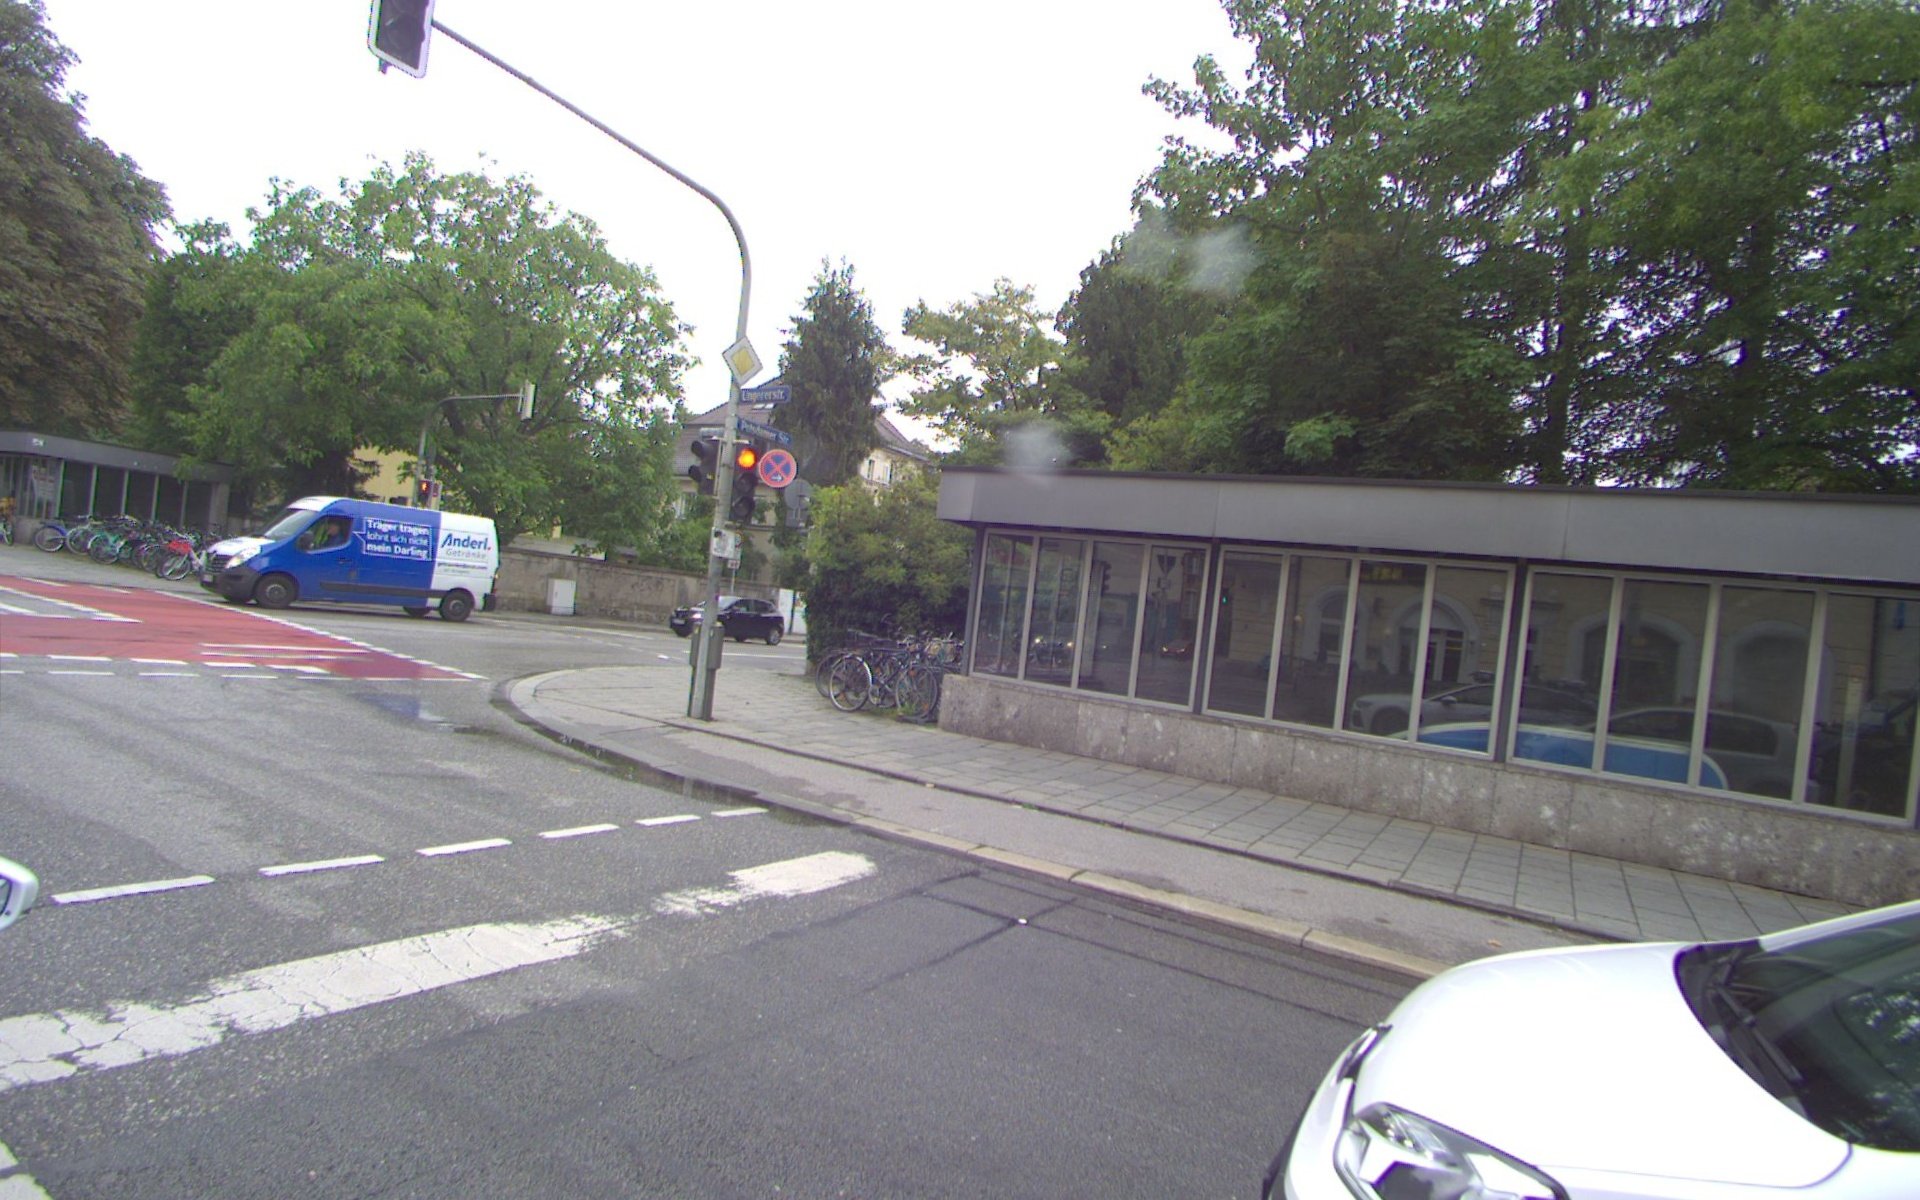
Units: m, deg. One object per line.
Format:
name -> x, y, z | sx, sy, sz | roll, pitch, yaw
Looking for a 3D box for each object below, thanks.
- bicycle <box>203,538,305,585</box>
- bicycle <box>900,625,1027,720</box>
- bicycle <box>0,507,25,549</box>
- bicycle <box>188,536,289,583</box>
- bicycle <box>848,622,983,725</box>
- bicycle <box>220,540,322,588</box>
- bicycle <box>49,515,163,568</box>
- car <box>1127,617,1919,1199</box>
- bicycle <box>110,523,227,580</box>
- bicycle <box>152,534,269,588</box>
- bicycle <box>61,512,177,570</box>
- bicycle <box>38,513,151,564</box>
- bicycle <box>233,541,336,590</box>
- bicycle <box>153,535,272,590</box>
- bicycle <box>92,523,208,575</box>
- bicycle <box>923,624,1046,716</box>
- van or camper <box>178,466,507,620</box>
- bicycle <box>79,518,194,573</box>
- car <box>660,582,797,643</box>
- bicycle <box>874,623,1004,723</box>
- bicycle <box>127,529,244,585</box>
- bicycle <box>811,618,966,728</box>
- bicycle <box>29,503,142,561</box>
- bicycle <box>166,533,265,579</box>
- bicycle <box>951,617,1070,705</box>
bicycle -> -19.485, -1.051, 27.804 | 0.625, 1.026, 2.141 | 7, -1, 39
bicycle -> 0.033, 1.014, 14.321 | 1.707, 1.135, 0.469 | 6, 0, 32
bicycle -> -26.312, -2.018, 27.446 | 1.981, 1.027, 0.557 | 7, 0, 30
bicycle -> -20.167, -1.128, 28.163 | 0.625, 1.026, 2.141 | 7, -1, 39
bicycle -> -0.601, 0.950, 13.274 | 1.707, 1.135, 0.469 | 6, 0, 32
bicycle -> -18.782, -0.969, 27.465 | 0.625, 1.026, 2.141 | 7, -1, 39
bicycle -> -22.295, -1.514, 26.313 | 0.594, 1.075, 2.141 | 7, -1, 39
car -> 2.194, 1.053, 1.409 | 3.526, 1.581, 1.645 | 7, 0, 31
bicycle -> -19.726, -1.198, 25.111 | 0.594, 1.114, 2.141 | 7, 0, 39
bicycle -> -18.337, -0.935, 24.667 | 0.625, 1.026, 2.141 | 7, -1, 39
bicycle -> -21.688, -1.507, 25.977 | 0.594, 1.192, 2.141 | 7, 0, 39
bicycle -> -23.010, -1.628, 26.791 | 0.594, 1.026, 2.141 | 7, -1, 39
bicycle -> -18.146, -0.902, 27.065 | 0.625, 1.026, 2.141 | 7, -1, 39
bicycle -> -17.922, -0.880, 24.175 | 0.594, 1.026, 2.141 | 7, -1, 39
bicycle -> -20.389, -1.270, 25.369 | 0.594, 1.026, 2.141 | 7, -1, 39
bicycle -> 0.344, 1.017, 14.835 | 1.707, 1.135, 0.469 | 6, 0, 32
van or camper -> -13.108, -1.101, 21.805 | 2.034, 2.499, 5.555 | 7, -1, 35
bicycle -> -21.012, -1.378, 25.710 | 0.594, 1.099, 2.141 | 7, -1, 39
car -> -7.072, 0.415, 30.971 | 1.669, 1.414, 3.838 | 7, -1, 37
bicycle -> -0.305, 0.982, 13.772 | 1.707, 1.135, 0.469 | 6, 0, 32
bicycle -> -19.119, -1.054, 24.892 | 0.594, 1.084, 2.141 | 7, -1, 39
bicycle -> -0.924, 0.904, 12.703 | 1.858, 1.135, 0.600 | 6, 0, 32
bicycle -> -23.586, -1.819, 27.170 | 0.594, 1.233, 2.141 | 7, 0, 39
bicycle -> -21.454, -1.261, 29.027 | 0.625, 1.026, 2.141 | 7, -1, 39
bicycle -> 0.760, 0.927, 15.482 | 1.707, 1.135, 0.469 | 6, 0, 32
